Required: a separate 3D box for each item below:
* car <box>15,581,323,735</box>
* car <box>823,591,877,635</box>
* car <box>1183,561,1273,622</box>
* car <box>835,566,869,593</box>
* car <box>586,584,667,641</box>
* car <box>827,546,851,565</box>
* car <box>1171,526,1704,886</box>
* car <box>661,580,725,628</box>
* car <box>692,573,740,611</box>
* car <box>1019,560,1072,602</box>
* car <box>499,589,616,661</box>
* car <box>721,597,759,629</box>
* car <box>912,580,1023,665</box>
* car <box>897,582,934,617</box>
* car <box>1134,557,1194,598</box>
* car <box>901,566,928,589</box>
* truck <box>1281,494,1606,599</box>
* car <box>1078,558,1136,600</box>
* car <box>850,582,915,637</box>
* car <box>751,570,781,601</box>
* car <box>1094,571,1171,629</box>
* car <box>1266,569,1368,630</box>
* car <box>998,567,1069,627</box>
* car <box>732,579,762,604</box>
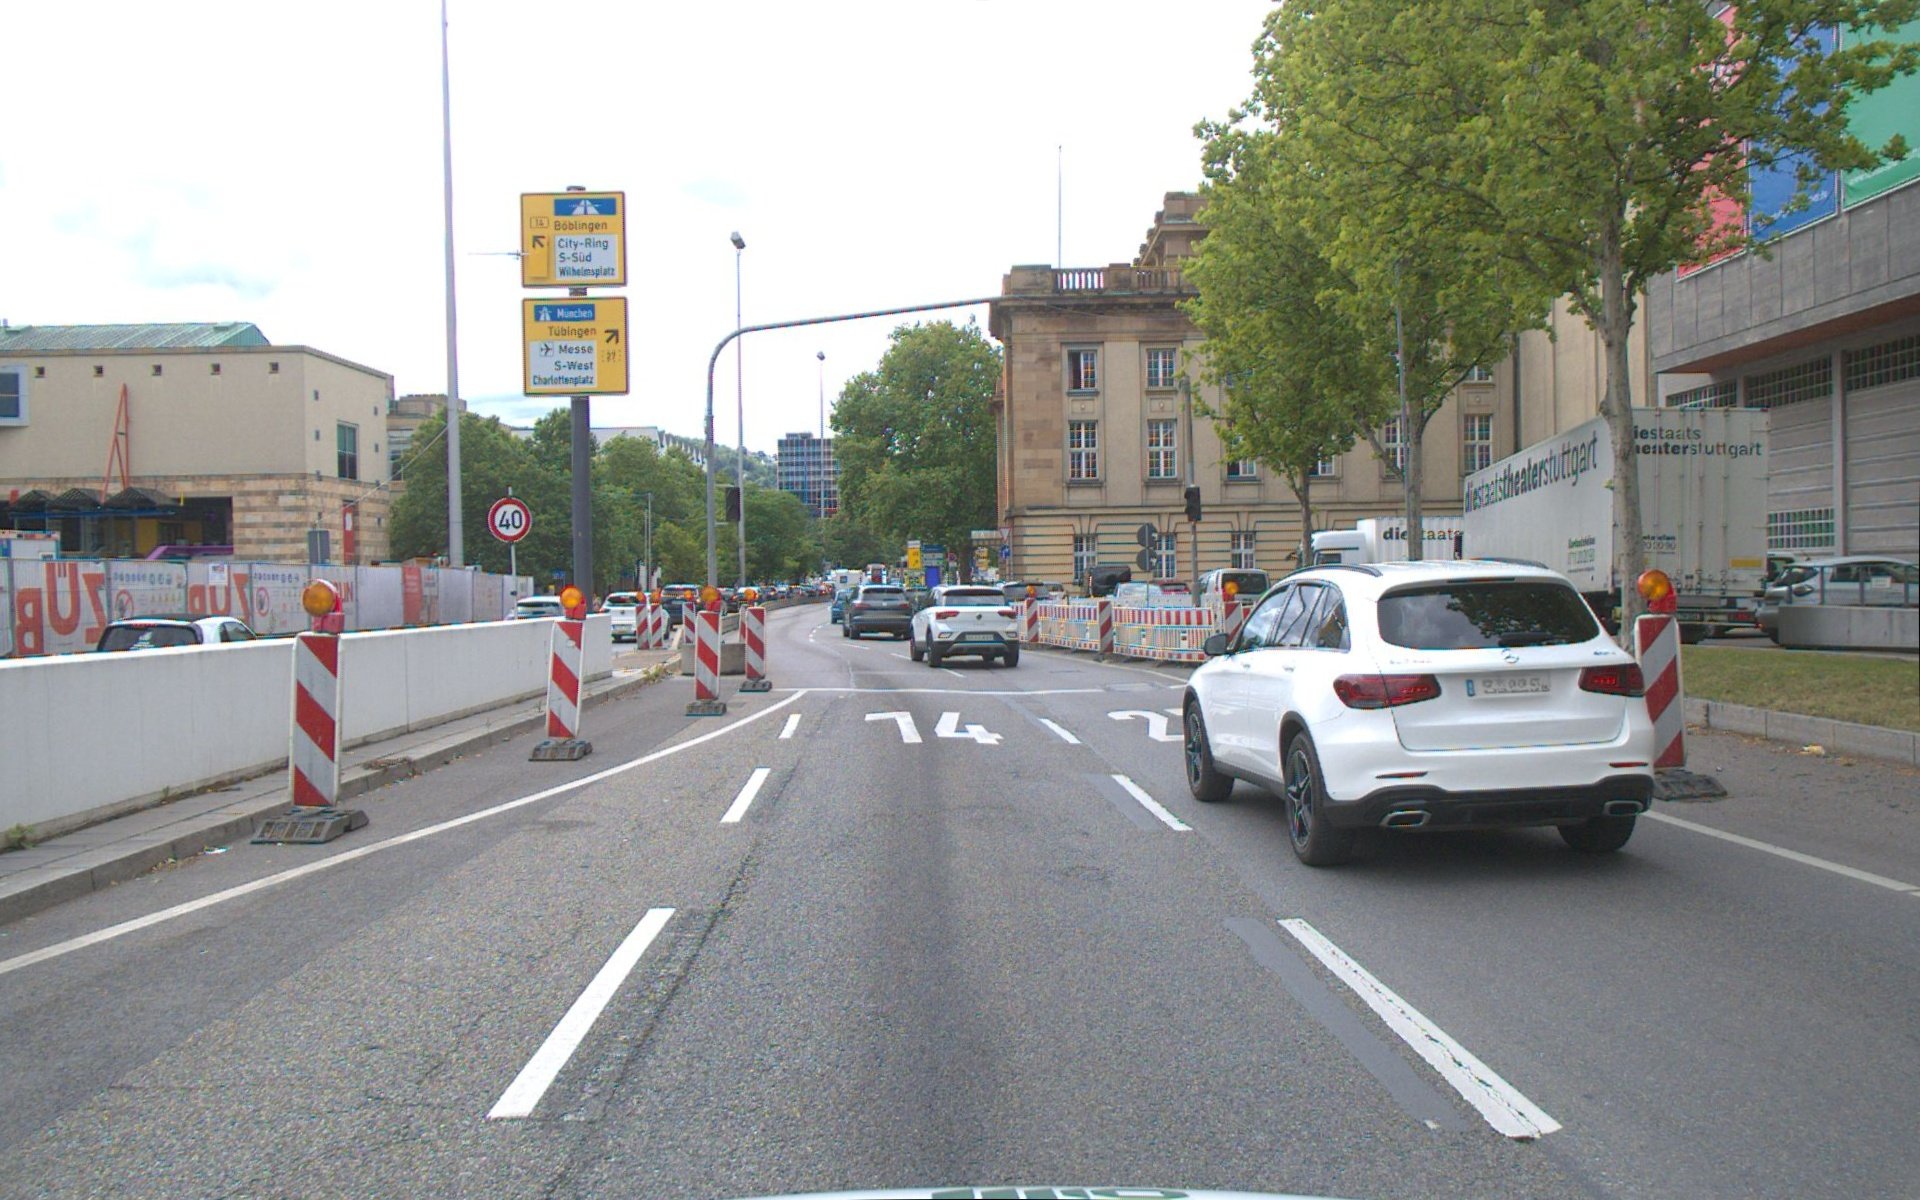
[{"bbox_3d":[-9.665,0.629,20.602,1.953,1.670,3.999,-1,1,-2],"label":"car"},{"bbox_3d":[-4.834,0.552,73.154,1.785,1.771,4.482,-2,1,3],"label":"car"},{"bbox_3d":[7.416,-0.228,46.106,1.715,1.595,4.330,-1,0,-1],"label":"car"},{"bbox_3d":[-10.273,-1.990,157.996,2.528,2.415,5.529,-2,1,3],"label":"car"},{"bbox_3d":[-9.918,0.333,49.388,1.715,1.595,3.377,-1,1,0],"label":"car"},{"bbox_3d":[-16.959,-6.220,231.795,2.528,2.415,5.529,-2,1,3],"label":"car"},{"bbox_3d":[2.681,0.483,10.506,1.776,1.671,4.549,-4,1,-3],"label":"car"},{"bbox_3d":[-9.736,0.133,60.548,1.715,1.595,3.377,-4,1,0],"label":"car"},{"bbox_3d":[-10.689,-0.362,72.701,1.716,1.595,4.328,-1,0,-4],"label":"car"},{"bbox_3d":[3.413,-0.750,66.657,1.818,1.595,4.330,-1,0,-1],"label":"car"},{"bbox_3d":[-9.650,0.558,40.009,1.714,1.595,4.331,-1,0,0],"label":"car"},{"bbox_3d":[-11.694,0.672,88.216,1.716,1.595,4.328,-1,0,-4],"label":"car"},{"bbox_3d":[0.076,0.418,33.353,1.717,1.595,4.325,-1,0,-7],"label":"car"},{"bbox_3d":[-2.215,-0.060,82.422,1.786,1.595,4.479,1,1,-1],"label":"car"},{"bbox_3d":[8.214,-0.883,66.837,1.818,1.595,4.330,-1,0,-1],"label":"car"},{"bbox_3d":[-5.146,-2.558,188.023,2.528,2.415,5.529,-2,1,3],"label":"car"},{"bbox_3d":[15.690,-1.702,54.037,9.825,3.104,2.568,-1,0,-1],"label":"truck"},{"bbox_3d":[5.838,-0.803,66.103,1.818,1.595,4.330,-1,0,-1],"label":"car"},{"bbox_3d":[-2.473,0.259,51.719,1.788,1.595,4.475,1,1,-5],"label":"car"},{"bbox_3d":[-14.203,-1.078,121.104,1.954,2.048,3.998,-2,2,-4],"label":"car"},{"bbox_3d":[4.987,0.002,48.292,1.715,1.595,4.330,-1,0,-1],"label":"car"},{"bbox_3d":[9.845,-0.008,45.893,1.818,1.595,4.330,-1,0,-1],"label":"car"},{"bbox_3d":[2.034,-0.086,46.893,1.715,1.595,4.330,-1,0,-1],"label":"car"},{"bbox_3d":[-14.198,-0.574,110.571,1.716,1.595,4.328,-1,0,-4],"label":"car"}]
